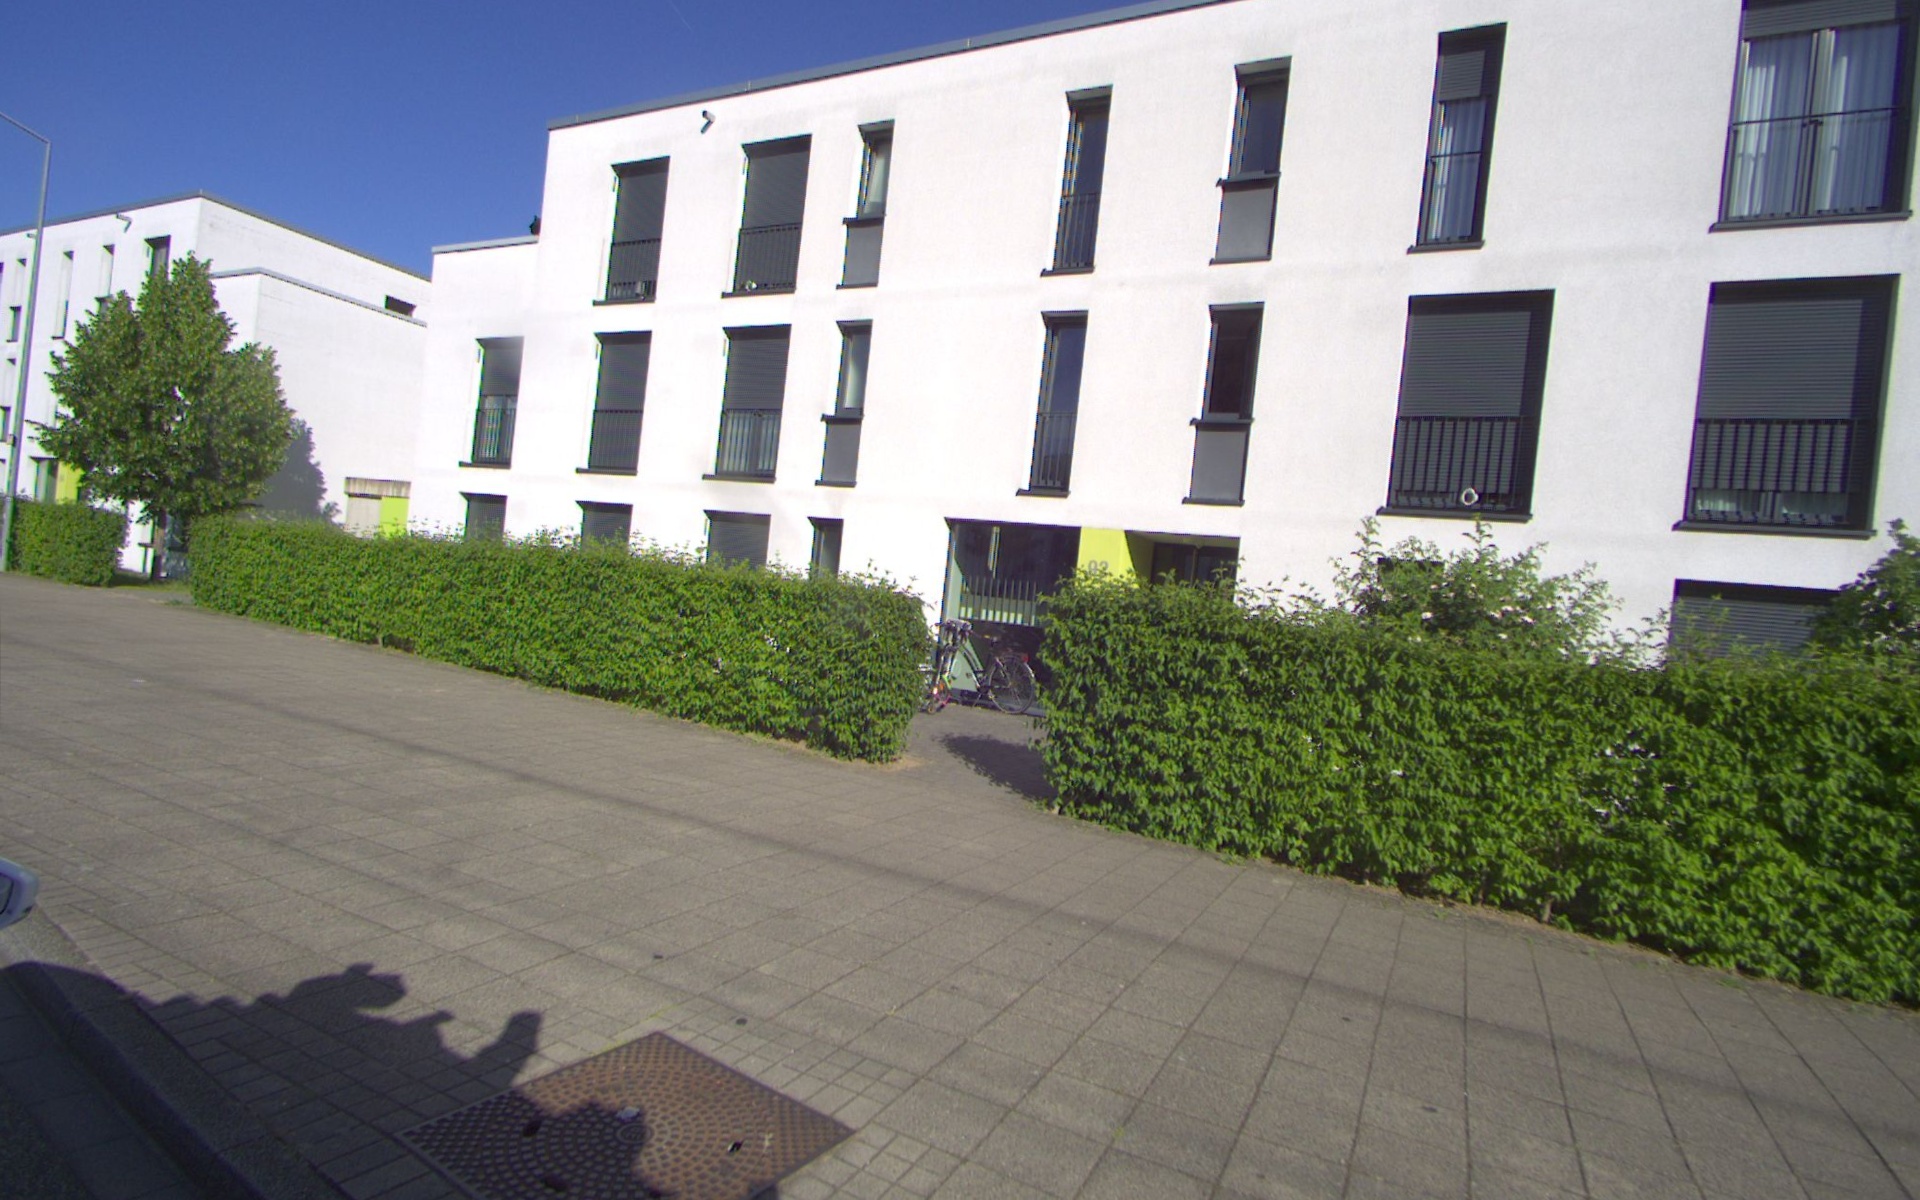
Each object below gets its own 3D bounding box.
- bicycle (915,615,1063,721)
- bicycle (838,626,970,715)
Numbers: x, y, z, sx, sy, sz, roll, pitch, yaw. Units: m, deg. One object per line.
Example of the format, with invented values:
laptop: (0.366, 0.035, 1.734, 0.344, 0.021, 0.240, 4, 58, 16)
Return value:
bicycle: (0.348, 0.836, 12.577, 1.700, 1.088, 0.515, 6, -1, 32)
bicycle: (-0.694, 0.839, 12.135, 1.544, 0.863, 0.413, 6, -1, 32)
